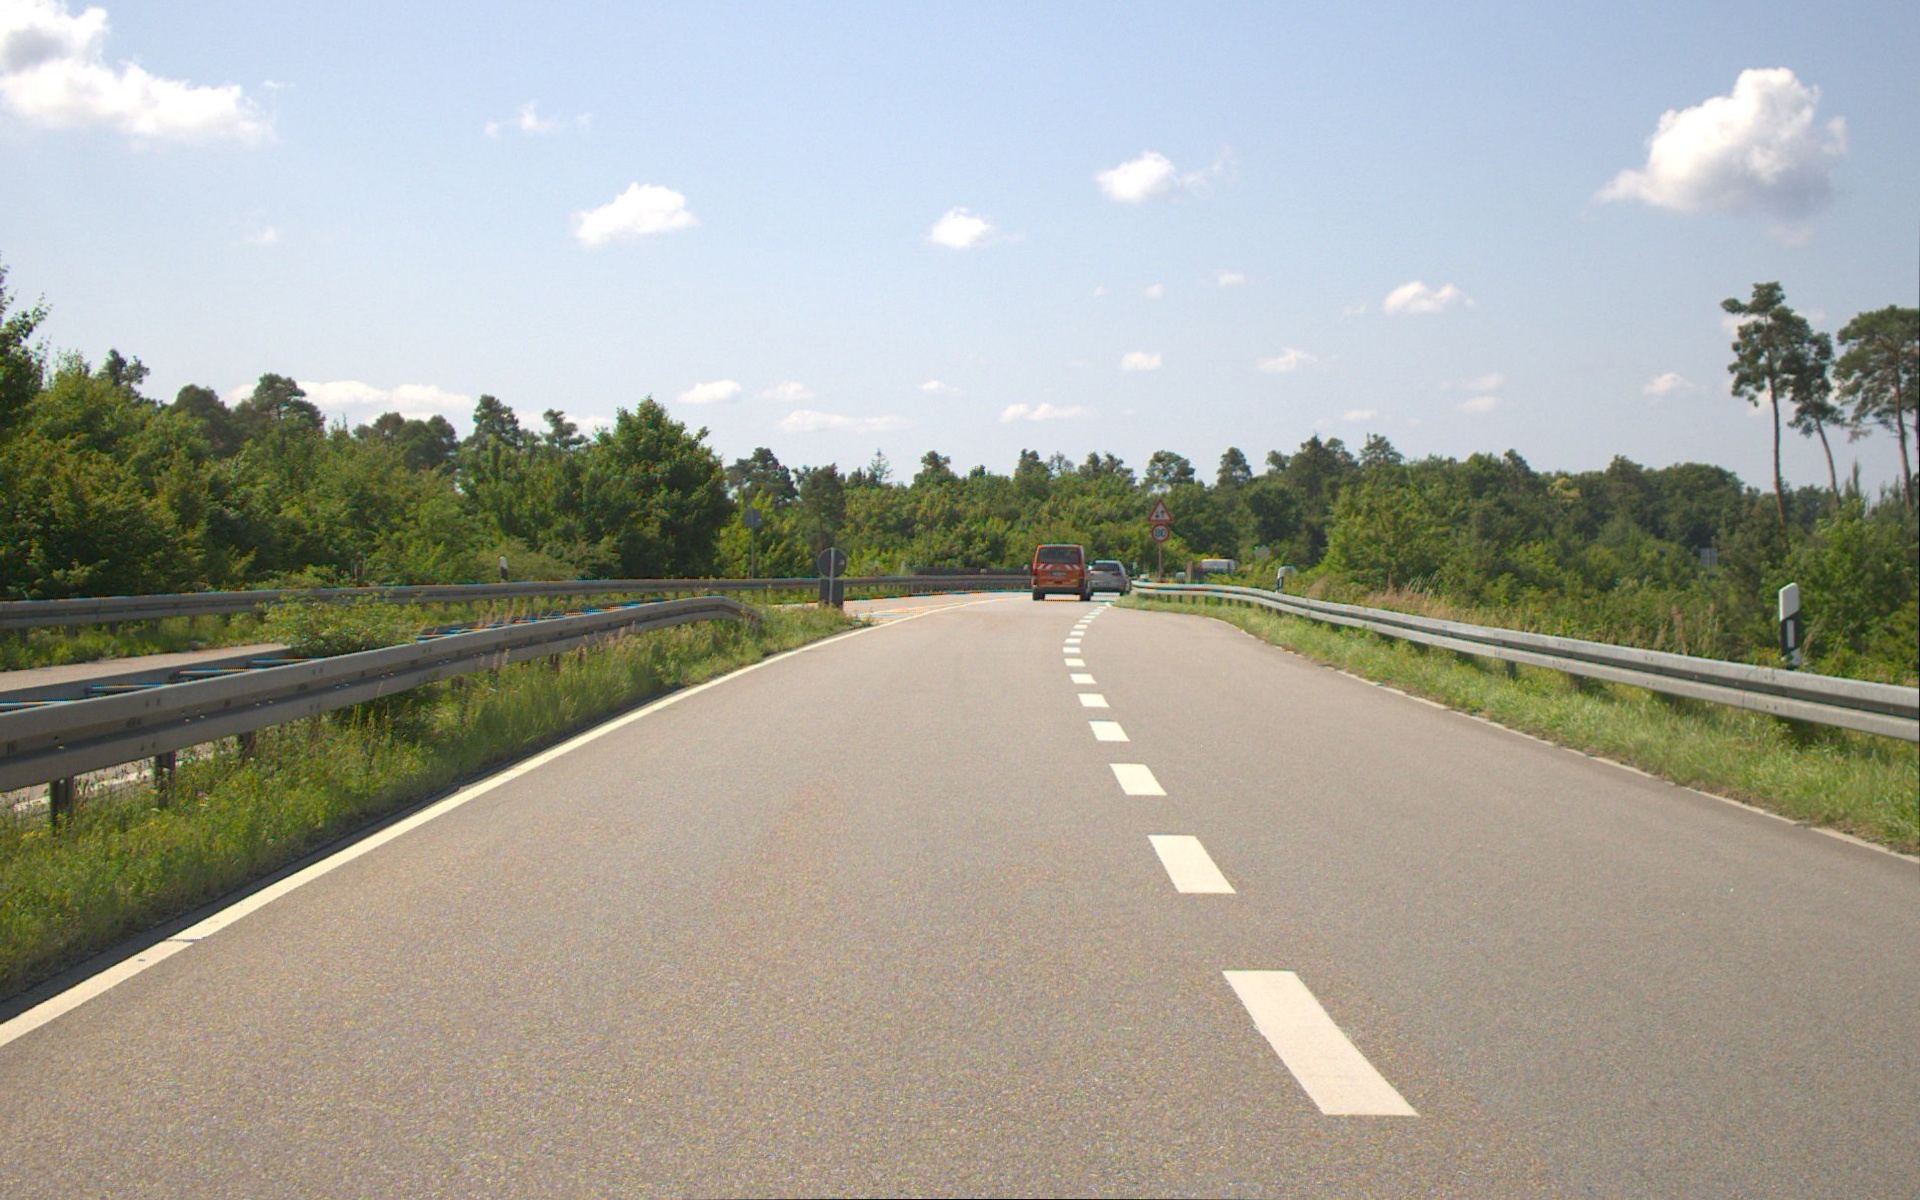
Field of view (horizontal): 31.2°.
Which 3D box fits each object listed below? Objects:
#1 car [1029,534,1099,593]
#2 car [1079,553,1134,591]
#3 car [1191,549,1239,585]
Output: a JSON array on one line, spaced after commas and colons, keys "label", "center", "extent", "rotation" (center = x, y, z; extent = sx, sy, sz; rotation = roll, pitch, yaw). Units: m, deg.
[{"label": "car", "center": [3.654, -1.253, 119.960], "extent": [2.078, 1.986, 5.110], "rotation": [1, 0, 5]}, {"label": "car", "center": [6.063, -1.134, 141.708], "extent": [2.007, 1.489, 4.238], "rotation": [1, 0, 5]}, {"label": "car", "center": [14.548, -1.867, 195.667], "extent": [2.185, 1.948, 5.801], "rotation": [1, 0, 9]}]
